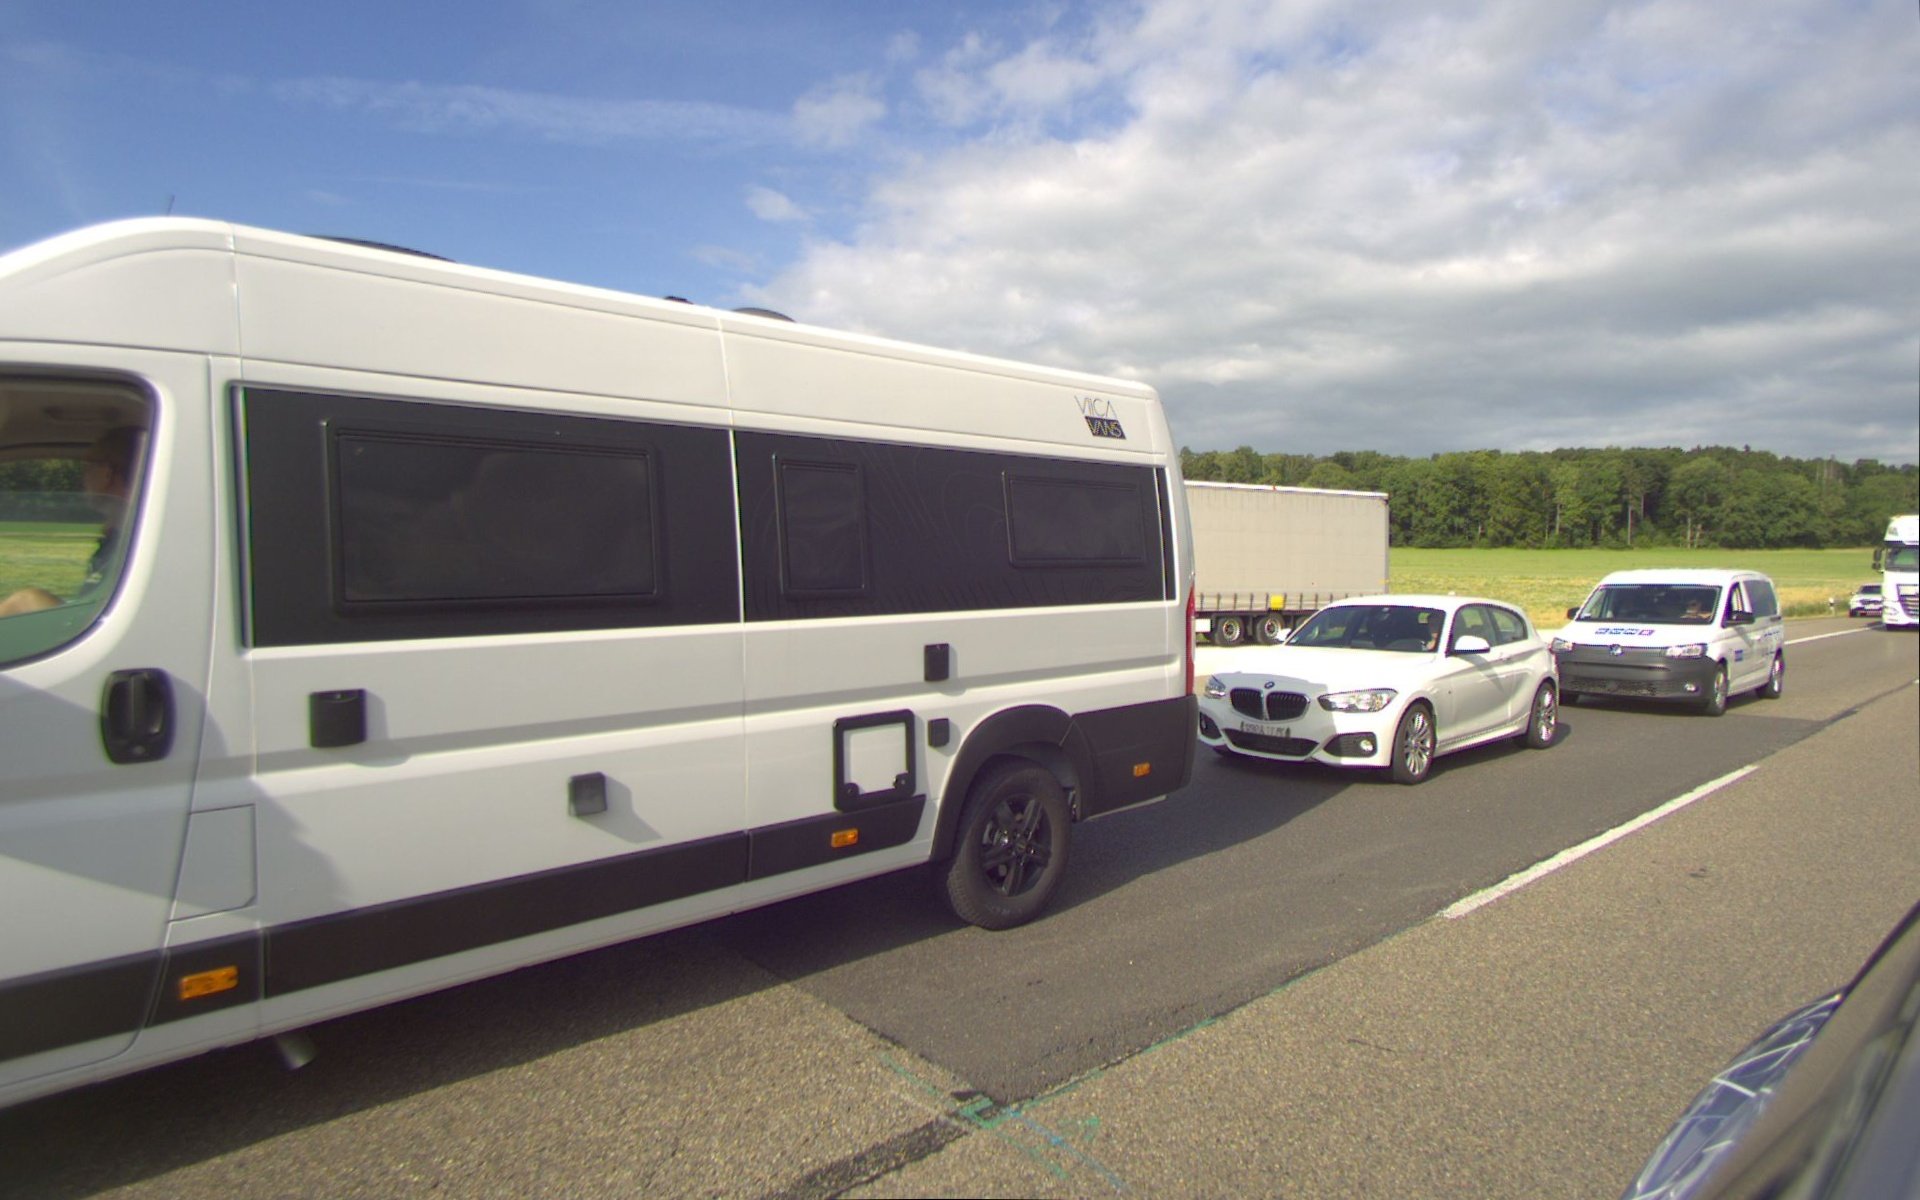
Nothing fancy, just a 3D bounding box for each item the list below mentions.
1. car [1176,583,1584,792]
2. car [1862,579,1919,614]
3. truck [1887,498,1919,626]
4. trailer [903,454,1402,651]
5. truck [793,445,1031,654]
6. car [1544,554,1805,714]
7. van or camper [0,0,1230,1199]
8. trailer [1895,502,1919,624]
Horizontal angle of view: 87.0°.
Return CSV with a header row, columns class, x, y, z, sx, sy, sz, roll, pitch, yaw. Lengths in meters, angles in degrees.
class,x,y,z,sx,sy,sz,roll,pitch,yaw
car,3.898,0.582,9.039,4.158,1.450,1.706,-1,1,-41
car,44.952,-0.196,48.656,4.595,1.612,1.807,-1,2,-41
truck,34.210,-1.308,34.857,5.667,4.226,2.733,-1,1,-41
trailer,5.326,-1.043,25.820,13.543,4.213,2.749,0,0,-26
truck,-1.102,-1.033,22.697,4.662,4.226,2.727,0,0,-26
car,9.547,0.354,13.368,4.620,1.779,1.727,-1,0,-41
van or camper,-1.680,-0.001,3.968,6.222,2.714,2.219,-1,1,-41
trailer,38.831,-1.440,38.944,13.777,4.212,2.740,-2,1,-41
